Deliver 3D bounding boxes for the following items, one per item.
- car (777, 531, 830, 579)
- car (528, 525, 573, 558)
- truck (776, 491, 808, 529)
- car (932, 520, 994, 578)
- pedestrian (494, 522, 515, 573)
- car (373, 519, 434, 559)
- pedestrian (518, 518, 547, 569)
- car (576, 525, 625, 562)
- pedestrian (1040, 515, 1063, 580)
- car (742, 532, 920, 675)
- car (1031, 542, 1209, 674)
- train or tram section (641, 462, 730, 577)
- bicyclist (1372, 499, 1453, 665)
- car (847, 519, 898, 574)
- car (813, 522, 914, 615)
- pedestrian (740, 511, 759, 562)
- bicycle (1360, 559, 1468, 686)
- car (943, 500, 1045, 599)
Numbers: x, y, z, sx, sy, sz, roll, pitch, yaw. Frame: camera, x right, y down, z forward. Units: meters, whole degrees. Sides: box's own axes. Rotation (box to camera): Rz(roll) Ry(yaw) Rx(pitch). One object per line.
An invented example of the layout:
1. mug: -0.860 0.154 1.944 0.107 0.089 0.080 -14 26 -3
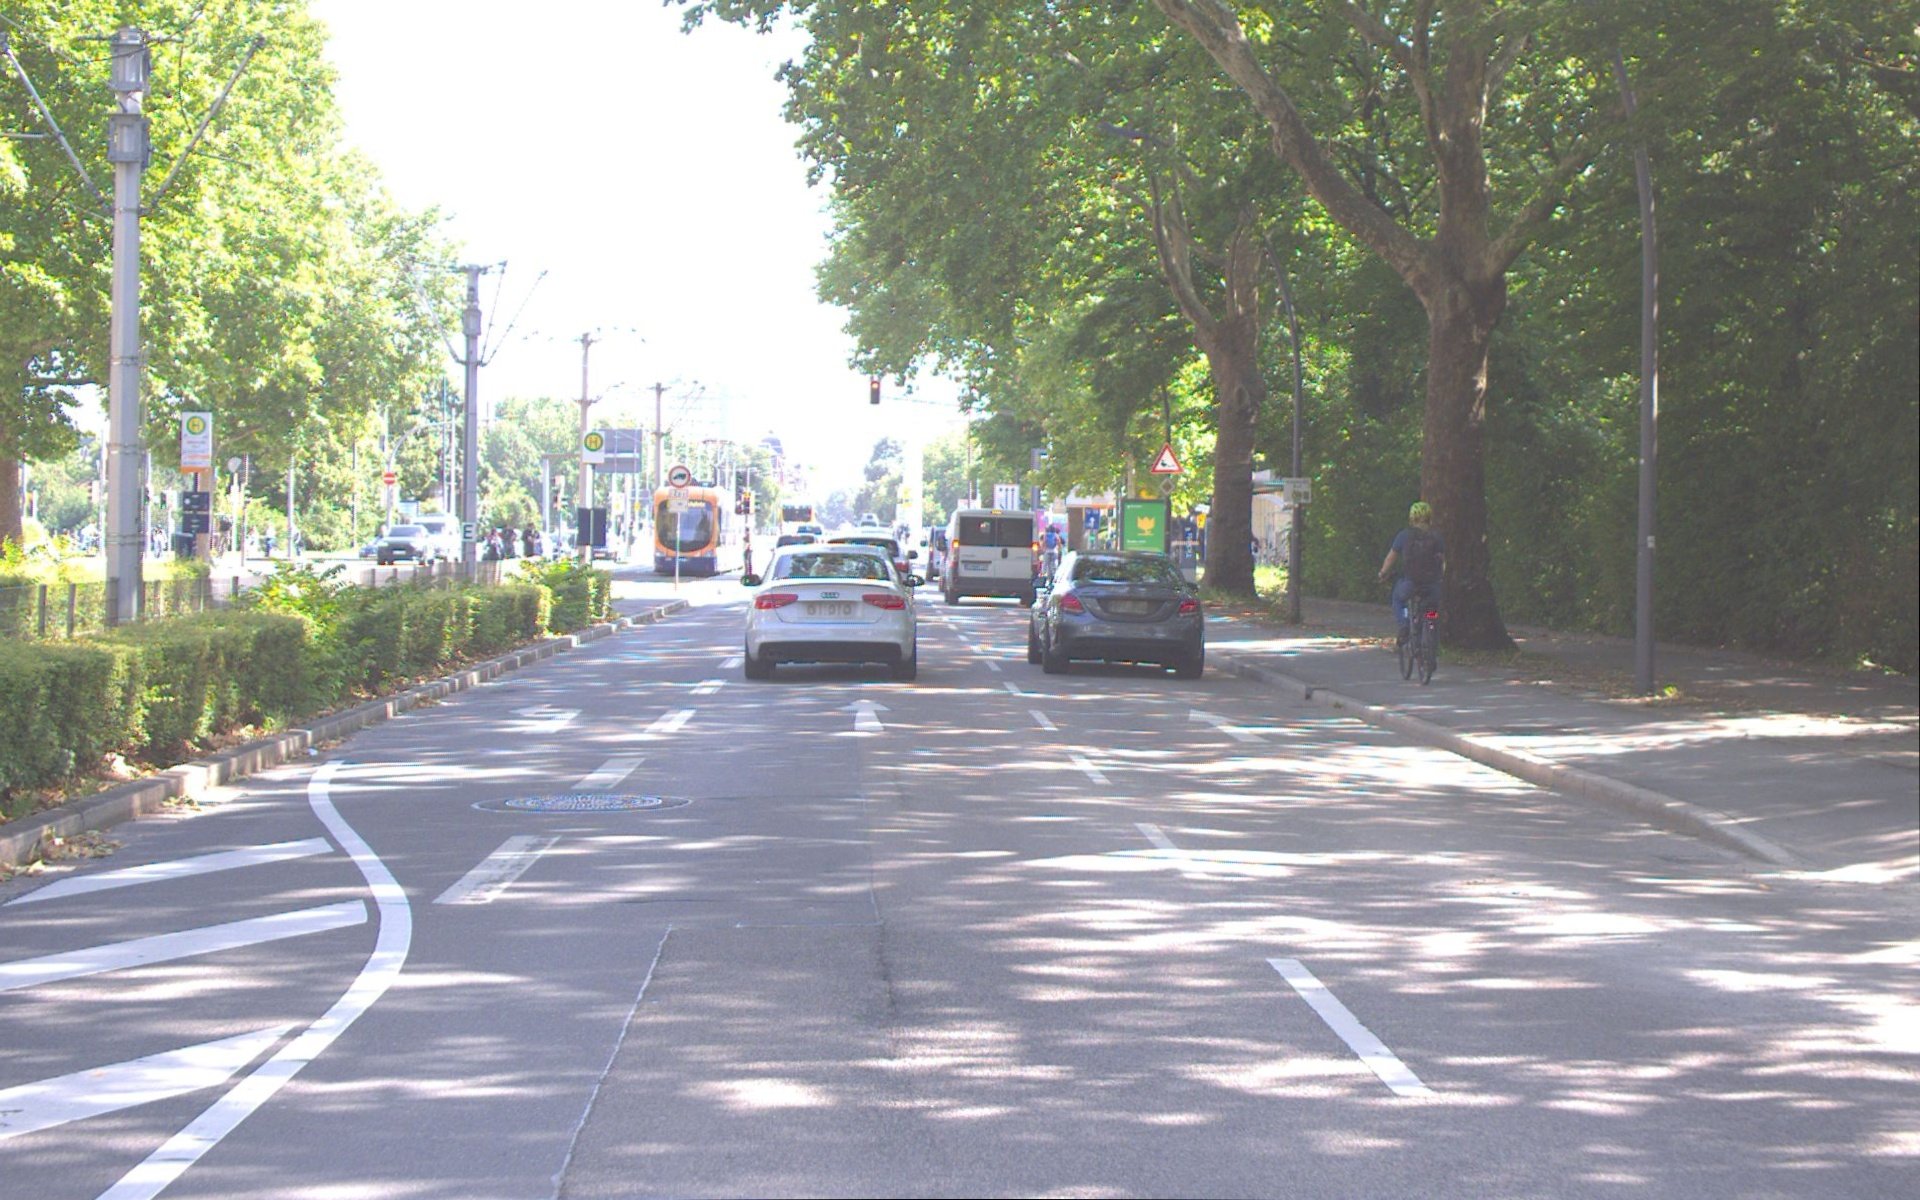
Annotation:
1. car: -5.465 -1.588 120.384 1.729 1.625 4.000 1 1 -1
2. car: -20.962 -3.002 176.034 1.871 1.603 4.000 1 1 -1
3. truck: -12.749 -6.803 261.211 1.993 2.780 8.519 1 1 -1
4. car: 0.094 -1.818 122.438 2.072 1.992 4.058 1 1 -1
5. pedestrian: -14.767 -1.698 111.456 0.593 1.641 0.554 1 1 -1
6. car: -23.161 -2.535 143.245 1.830 1.618 4.897 1 1 -1
7. pedestrian: -14.733 -1.960 118.508 0.775 1.728 0.754 1 1 8
8. car: -17.599 -2.776 168.269 1.993 1.728 4.000 1 1 -1
9. pedestrian: 2.771 -1.583 104.135 0.635 1.939 0.719 1 1 -1
10. car: -1.345 -0.001 36.876 1.784 1.416 3.885 1 1 -1
11. car: 1.819 0.056 40.124 1.782 1.415 4.000 1 1 -1
12. train or tram section: -9.946 -2.919 125.041 2.616 4.001 7.749 1 1 -1
13. bicyclist: 4.599 -0.194 34.987 0.634 1.642 0.979 -1 3 -2
14. car: -3.076 -1.894 121.532 1.729 1.895 4.000 1 1 -1
15. car: -1.733 -0.586 62.480 1.729 1.599 3.885 1 1 -1
16. pedestrian: -7.883 -2.371 128.655 0.624 1.911 0.690 1 1 -1
17. bicycle: 4.612 0.208 35.046 0.714 1.144 2.179 -1 3 -2
18. car: 0.759 -1.183 80.344 2.230 2.204 4.162 1 1 -1
